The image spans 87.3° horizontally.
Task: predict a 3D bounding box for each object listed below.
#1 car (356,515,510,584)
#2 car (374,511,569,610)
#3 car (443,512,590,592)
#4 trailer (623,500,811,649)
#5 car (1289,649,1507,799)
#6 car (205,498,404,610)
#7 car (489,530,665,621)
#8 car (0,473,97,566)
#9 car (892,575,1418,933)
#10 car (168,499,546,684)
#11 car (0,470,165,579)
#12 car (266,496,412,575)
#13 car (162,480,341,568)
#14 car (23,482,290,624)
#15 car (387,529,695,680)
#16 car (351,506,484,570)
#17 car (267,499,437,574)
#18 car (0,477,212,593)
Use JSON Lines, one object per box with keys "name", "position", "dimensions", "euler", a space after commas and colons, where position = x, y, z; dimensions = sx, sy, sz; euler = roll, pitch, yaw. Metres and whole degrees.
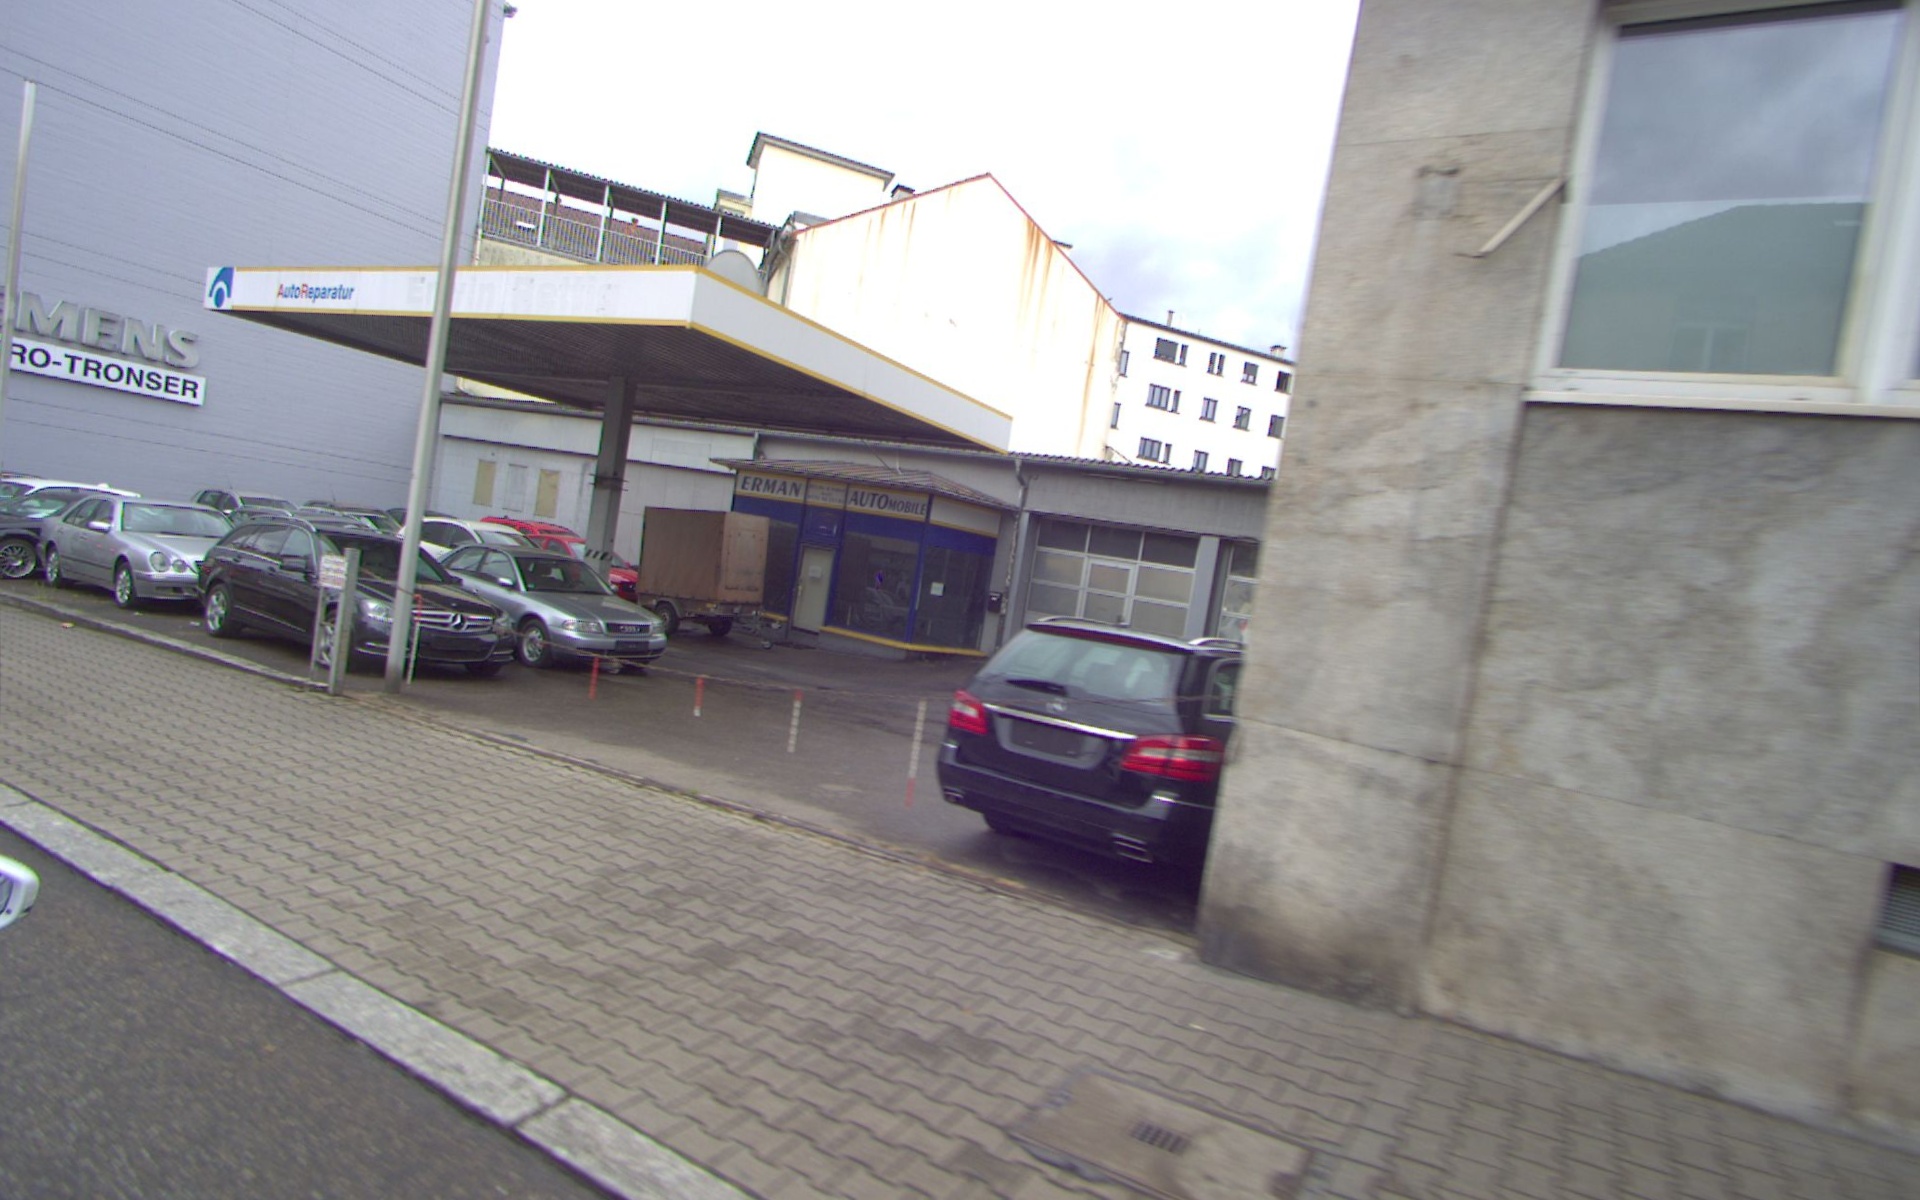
{"name": "car", "position": [-12.477, -1.194, 23.803], "dimensions": [3.332, 1.216, 1.454], "euler": [6, -2, 26]}
{"name": "car", "position": [-9.544, -0.774, 19.635], "dimensions": [3.459, 1.530, 1.556], "euler": [6, -2, 28]}
{"name": "car", "position": [-11.223, -1.217, 25.436], "dimensions": [3.332, 1.616, 1.454], "euler": [6, -1, 26]}
{"name": "trailer", "position": [-4.636, -0.501, 19.139], "dimensions": [3.151, 2.466, 1.429], "euler": [7, 1, 29]}
{"name": "car", "position": [6.238, 1.594, 14.041], "dimensions": [1.857, 1.532, 4.240], "euler": [7, 1, 35]}
{"name": "car", "position": [-11.184, -0.796, 17.121], "dimensions": [3.338, 1.530, 1.529], "euler": [5, -2, 33]}
{"name": "car", "position": [-8.156, -0.536, 21.380], "dimensions": [3.459, 1.530, 1.453], "euler": [6, -2, 28]}
{"name": "car", "position": [-19.211, -1.714, 19.047], "dimensions": [1.765, 1.615, 4.005], "euler": [6, -2, 12]}
{"name": "car", "position": [1.721, 0.985, 7.100], "dimensions": [1.857, 1.529, 4.497], "euler": [7, -3, 35]}
{"name": "car", "position": [-6.951, -0.135, 11.465], "dimensions": [4.411, 1.494, 1.799], "euler": [7, -1, 33]}
{"name": "car", "position": [-16.932, -1.431, 17.939], "dimensions": [1.765, 1.615, 4.005], "euler": [6, -2, 12]}
{"name": "car", "position": [-15.762, -1.644, 25.524], "dimensions": [3.332, 1.616, 1.454], "euler": [6, -1, 26]}
{"name": "car", "position": [-16.515, -1.774, 23.429], "dimensions": [3.798, 1.616, 1.649], "euler": [6, -2, 26]}
{"name": "car", "position": [-11.507, -0.697, 14.348], "dimensions": [4.001, 1.494, 1.568], "euler": [7, -1, 31]}
{"name": "car", "position": [-5.887, 0.023, 13.908], "dimensions": [4.415, 1.495, 1.797], "euler": [7, 0, 36]}
{"name": "car", "position": [-14.833, -1.697, 27.489], "dimensions": [3.294, 1.370, 1.456], "euler": [6, -2, 26]}
{"name": "car", "position": [-13.057, -1.359, 21.587], "dimensions": [3.332, 1.216, 1.454], "euler": [6, -2, 26]}
{"name": "car", "position": [-14.886, -1.085, 16.461], "dimensions": [1.700, 1.512, 4.005], "euler": [6, -2, 12]}
